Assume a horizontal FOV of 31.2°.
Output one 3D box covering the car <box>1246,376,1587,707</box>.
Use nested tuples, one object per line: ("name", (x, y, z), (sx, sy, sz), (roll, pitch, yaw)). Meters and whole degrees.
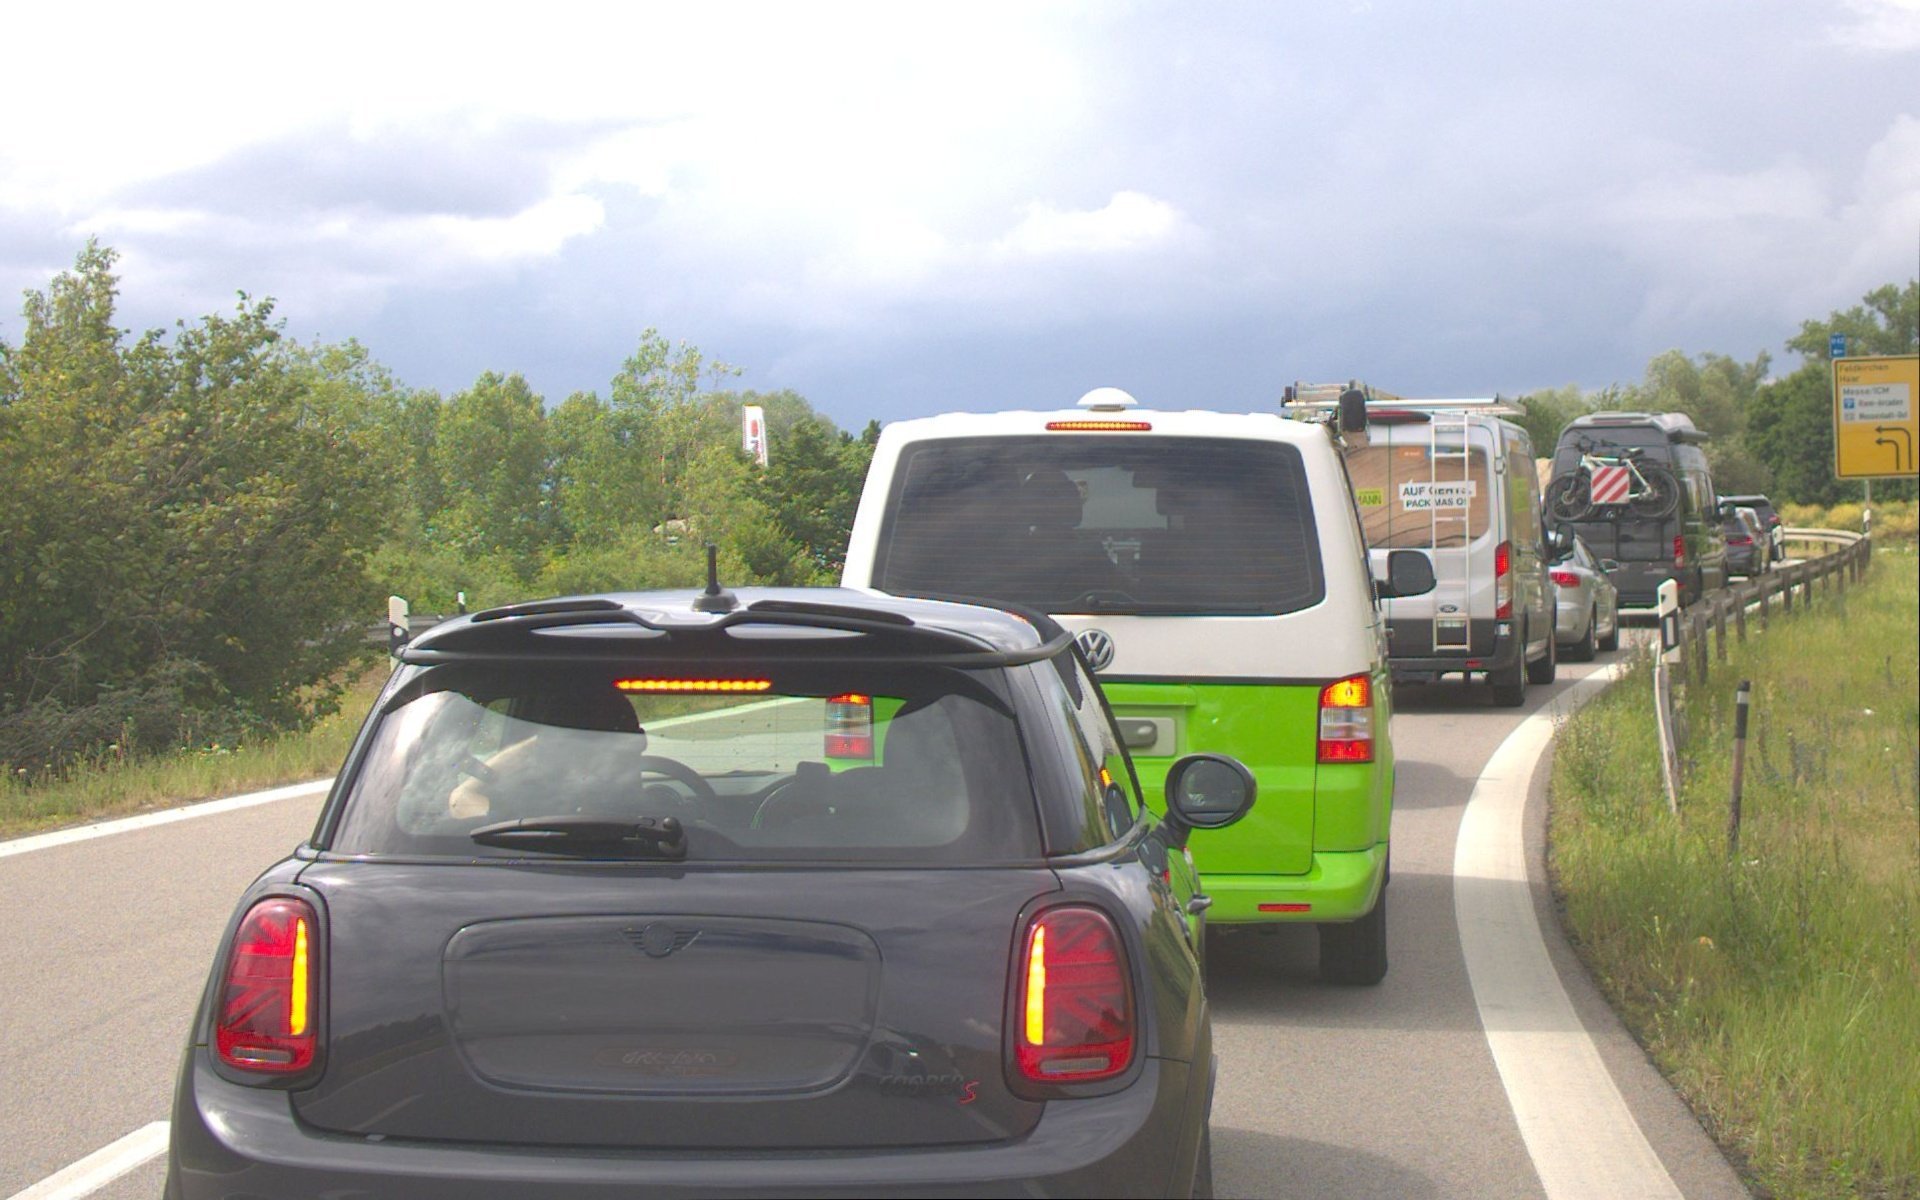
("car", (4.119, -0.495, 30.130), (2.213, 2.613, 5.530), (1, 1, 15))

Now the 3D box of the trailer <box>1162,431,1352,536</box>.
("trailer", (11.454, -4.463, 133.575), (3.035, 3.884, 8.774), (1, 1, -28))

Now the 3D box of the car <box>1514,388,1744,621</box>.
("car", (9.533, -1.287, 48.516), (2.313, 3.058, 6.656), (1, 1, 18))

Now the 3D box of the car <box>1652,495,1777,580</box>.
("car", (14.649, -1.186, 66.603), (1.895, 1.583, 4.491), (1, 1, 18))

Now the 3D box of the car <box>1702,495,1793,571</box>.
("car", (20.215, -1.697, 88.380), (2.096, 1.876, 4.493), (1, 1, 11))

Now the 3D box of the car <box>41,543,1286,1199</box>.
("car", (-0.324, 0.670, 6.812), (1.800, 1.541, 3.738), (0, 1, 4))

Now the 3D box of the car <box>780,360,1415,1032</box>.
("car", (0.683, 0.257, 12.628), (1.911, 2.038, 4.180), (0, 1, 8))

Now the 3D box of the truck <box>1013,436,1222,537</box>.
("truck", (6.374, -4.601, 141.273), (2.836, 3.962, 10.028), (0, 1, -37))

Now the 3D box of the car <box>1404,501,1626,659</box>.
("car", (6.198, -0.226, 38.077), (1.995, 1.636, 3.926), (1, 1, 15))
